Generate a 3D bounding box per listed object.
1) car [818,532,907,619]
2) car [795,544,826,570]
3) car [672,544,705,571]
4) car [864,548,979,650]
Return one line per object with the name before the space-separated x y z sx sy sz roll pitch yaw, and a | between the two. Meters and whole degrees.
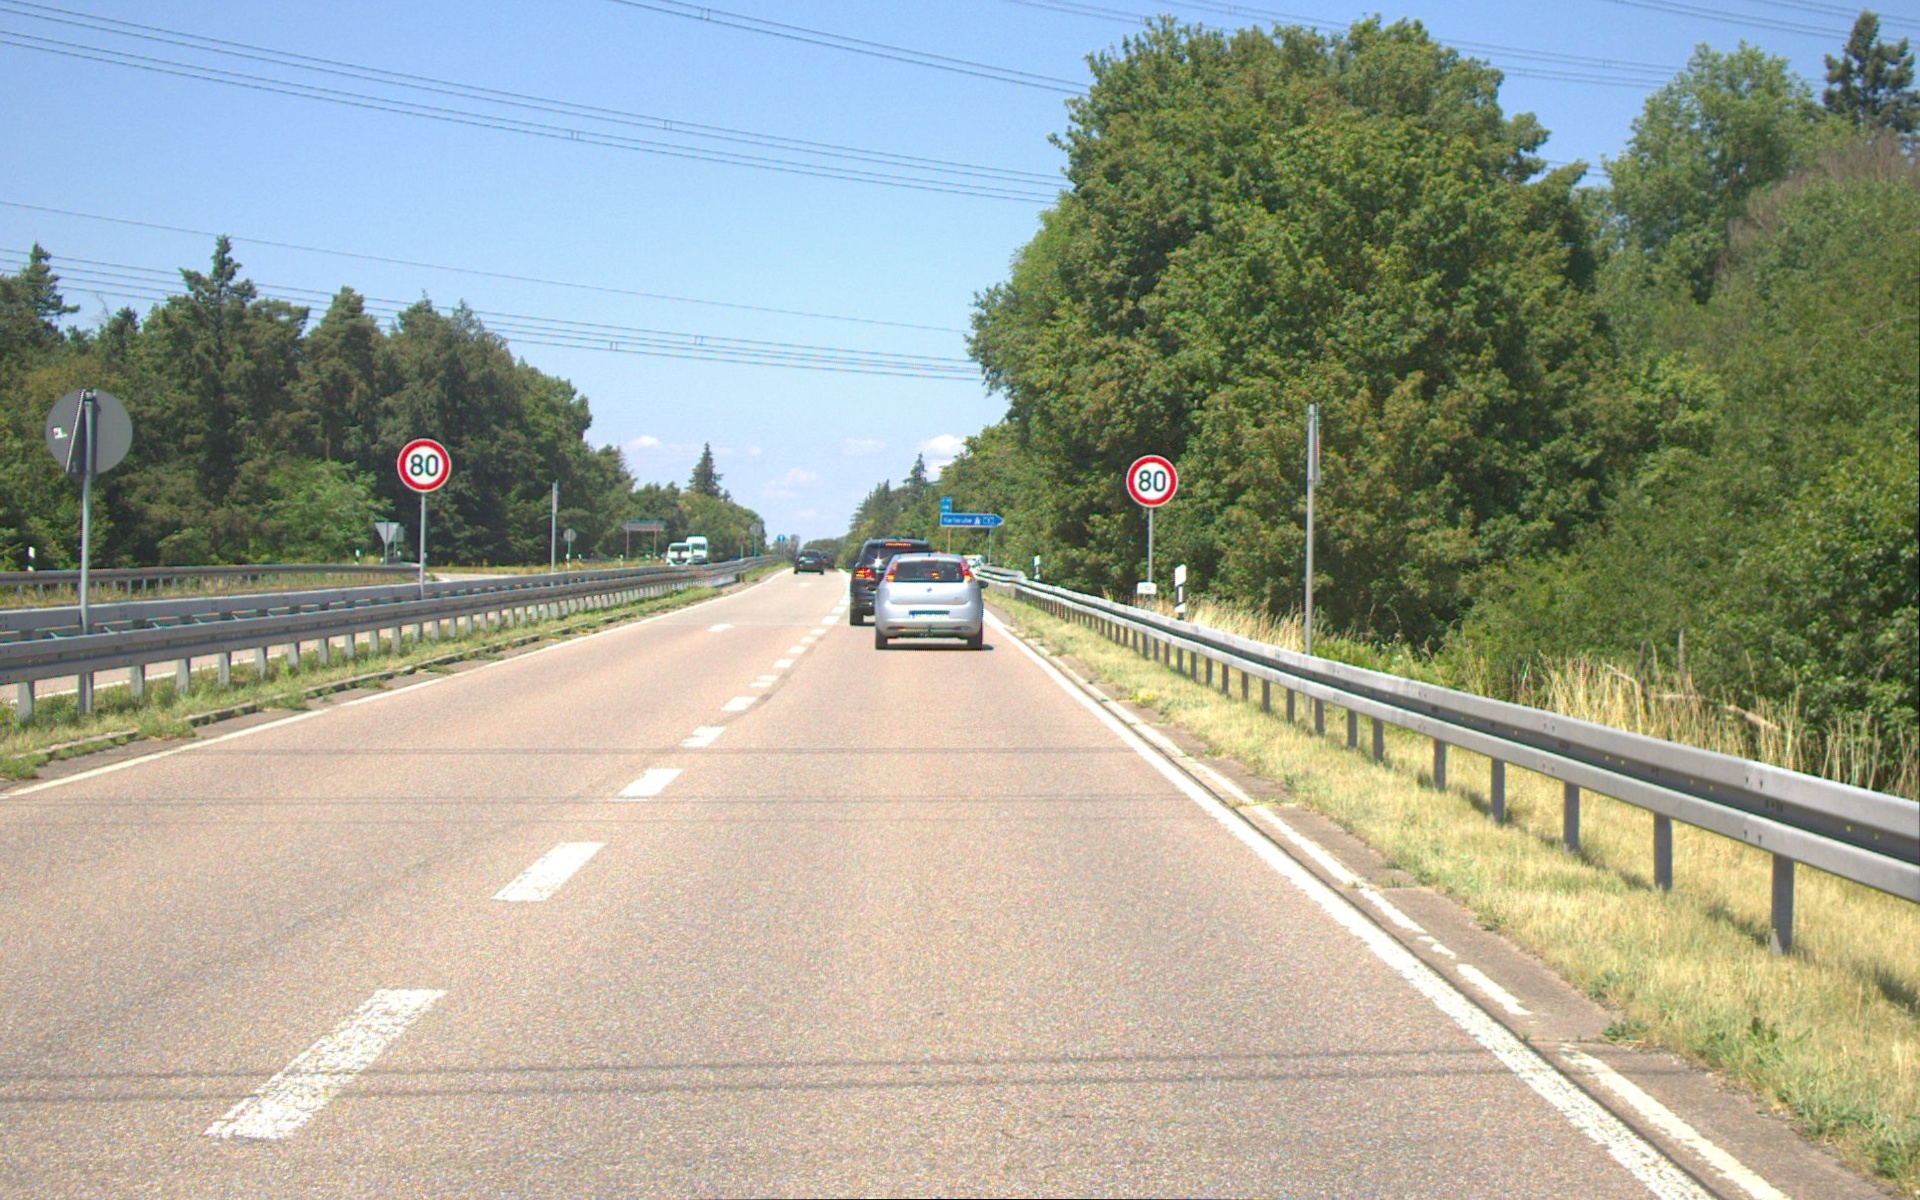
car | -2.000 -0.503 69.783 1.640 1.648 3.574 3 1 -3
car | -8.889 -2.575 205.015 1.712 1.466 3.574 3 1 -2
car | -20.082 -3.170 254.559 1.891 1.985 5.533 0 1 1
car | -0.625 -0.039 53.573 1.640 1.463 3.419 3 1 -2
